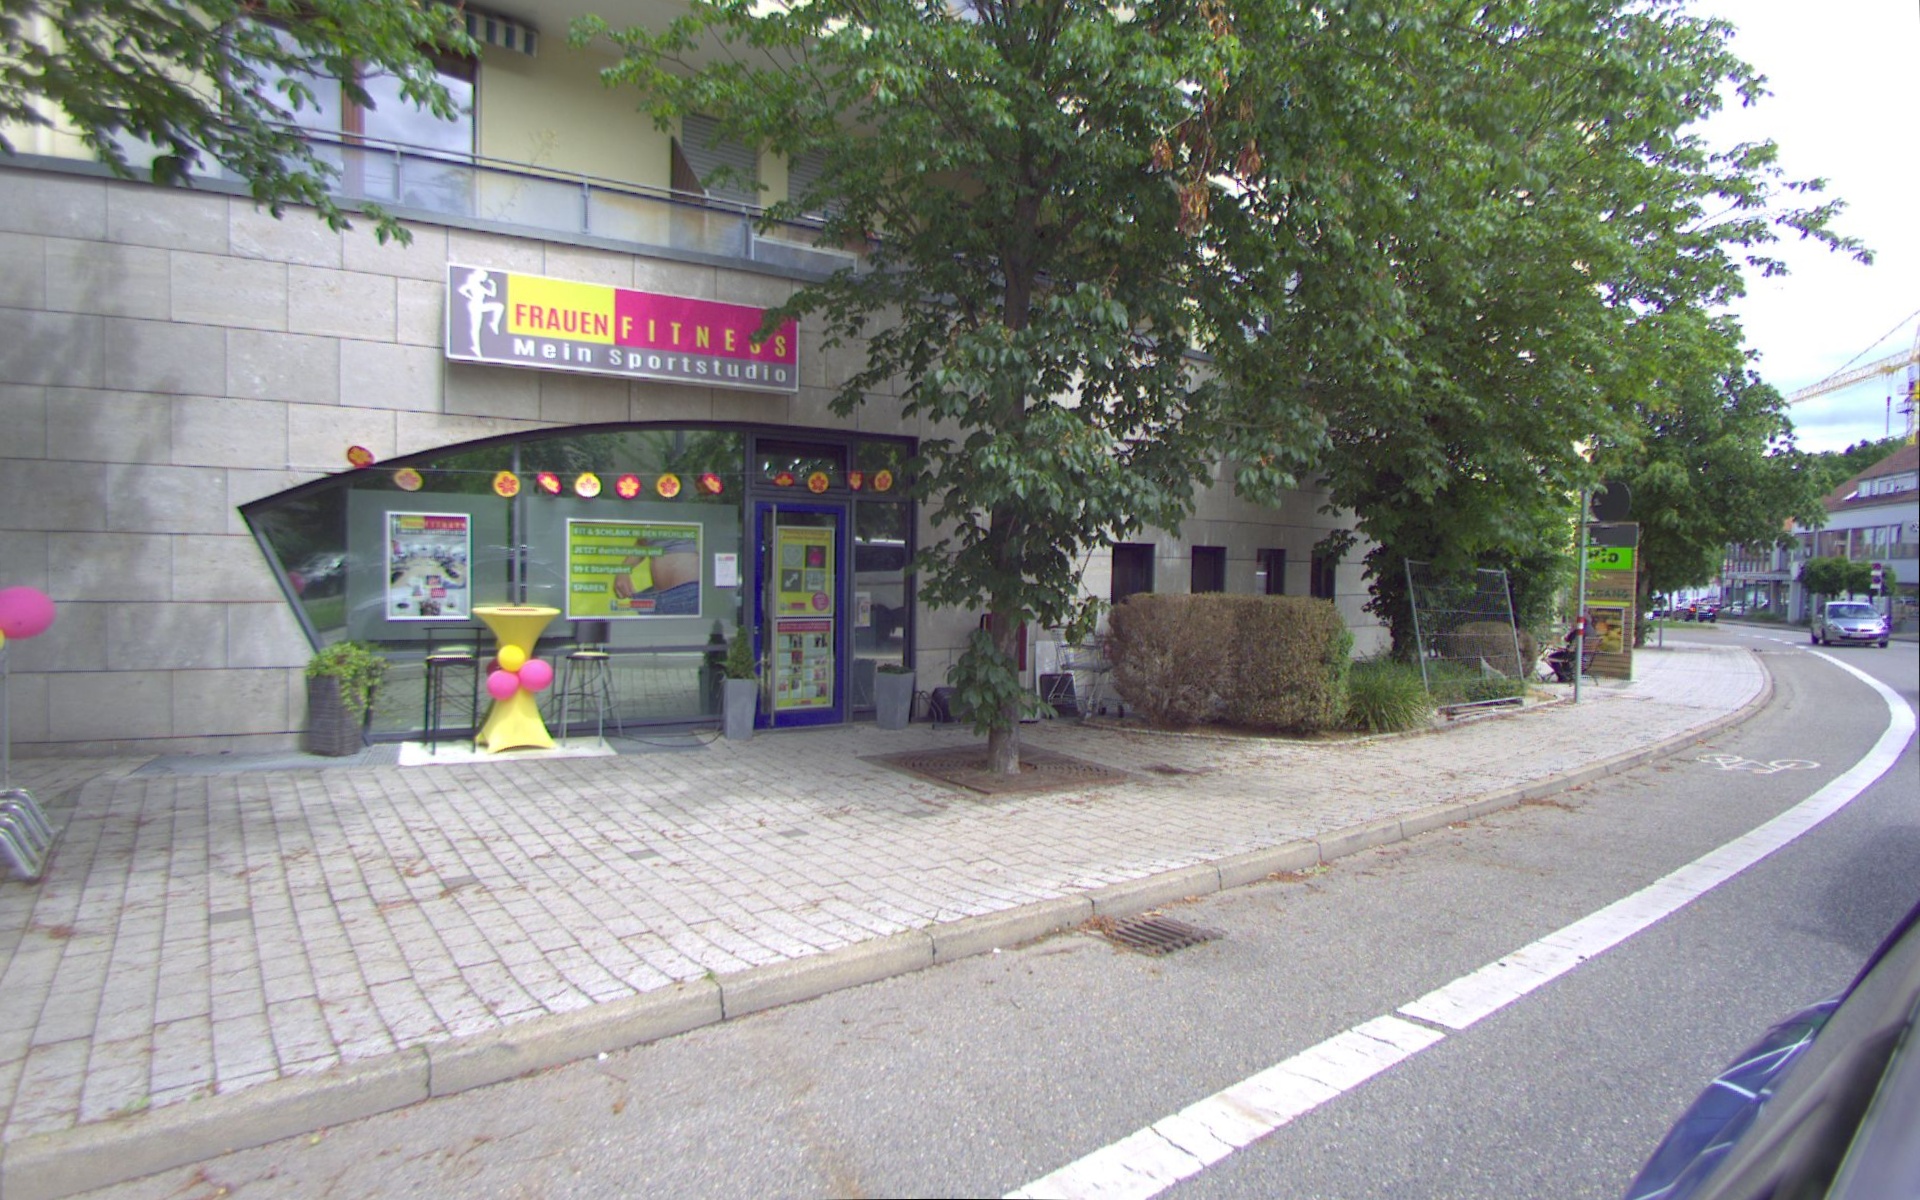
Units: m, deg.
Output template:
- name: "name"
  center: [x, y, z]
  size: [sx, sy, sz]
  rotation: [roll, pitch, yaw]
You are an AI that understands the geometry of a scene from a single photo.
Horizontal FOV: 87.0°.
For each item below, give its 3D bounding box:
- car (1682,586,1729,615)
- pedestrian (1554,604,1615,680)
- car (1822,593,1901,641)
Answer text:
- name: "car"
  center: [52.966, 0.005, 71.971]
  size: [1.722, 1.874, 3.970]
  rotation: [2, 2, 23]
- name: "pedestrian"
  center: [11.369, 0.743, 18.433]
  size: [0.741, 1.317, 0.730]
  rotation: [0, 2, -41]
- name: "car"
  center: [30.775, 0.535, 34.642]
  size: [1.685, 1.505, 3.947]
  rotation: [-1, 0, 37]
